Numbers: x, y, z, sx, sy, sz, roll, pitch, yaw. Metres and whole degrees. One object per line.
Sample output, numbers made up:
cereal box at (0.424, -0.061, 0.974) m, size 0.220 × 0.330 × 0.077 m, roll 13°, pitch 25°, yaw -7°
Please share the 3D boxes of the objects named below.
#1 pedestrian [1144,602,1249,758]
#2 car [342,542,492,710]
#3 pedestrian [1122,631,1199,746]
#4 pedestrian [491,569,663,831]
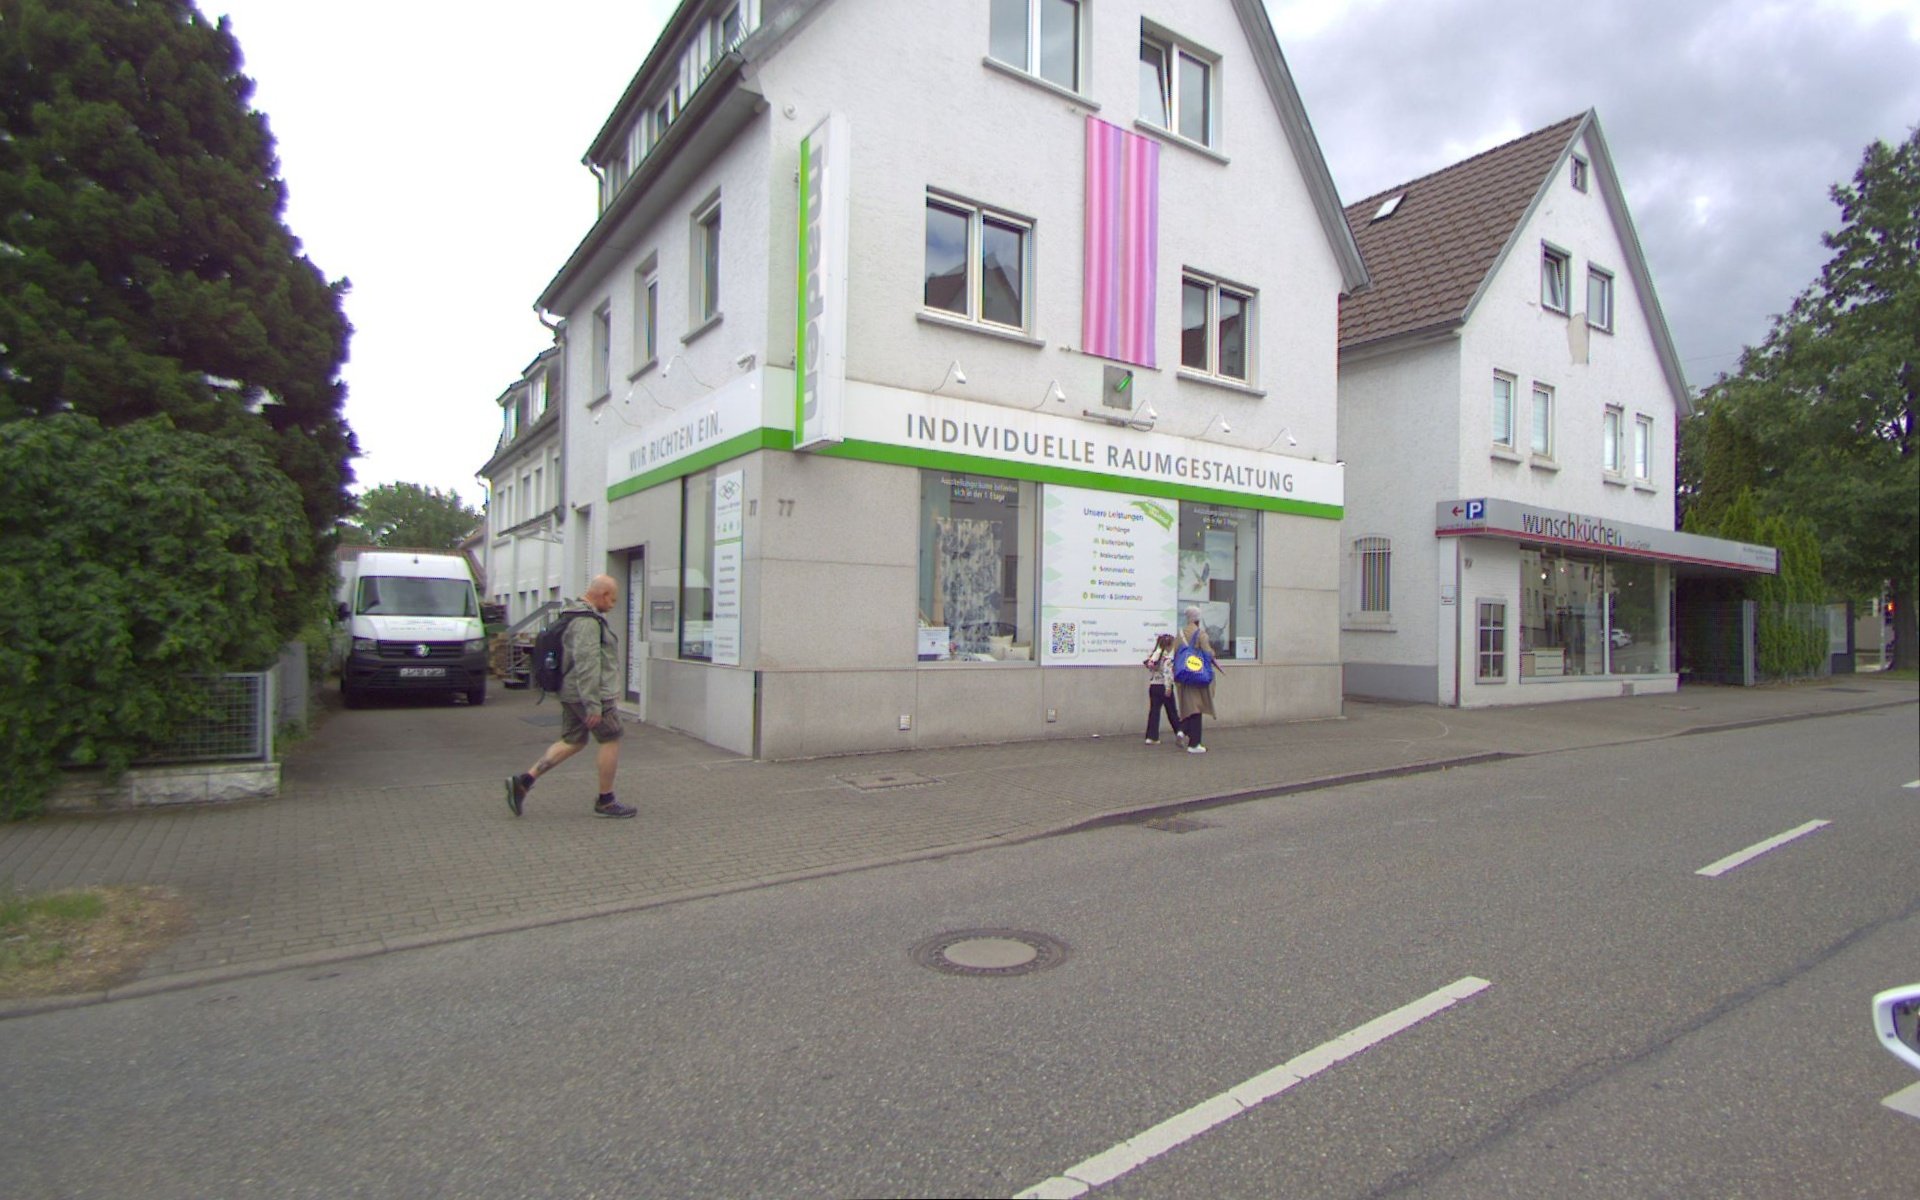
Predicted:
pedestrian at (2.660, 0.872, 11.324) m, size 0.784 × 1.638 × 0.747 m, roll 1°, pitch 2°, yaw -33°
car at (-9.597, 0.485, 17.684) m, size 1.976 × 2.496 × 5.275 m, roll 1°, pitch -2°, yaw -30°
pedestrian at (2.396, 1.039, 12.025) m, size 0.648 × 1.297 × 0.596 m, roll 1°, pitch 0°, yaw -33°
pedestrian at (-2.819, 0.680, 7.379) m, size 1.009 × 1.767 × 0.747 m, roll 1°, pitch 1°, yaw -33°
